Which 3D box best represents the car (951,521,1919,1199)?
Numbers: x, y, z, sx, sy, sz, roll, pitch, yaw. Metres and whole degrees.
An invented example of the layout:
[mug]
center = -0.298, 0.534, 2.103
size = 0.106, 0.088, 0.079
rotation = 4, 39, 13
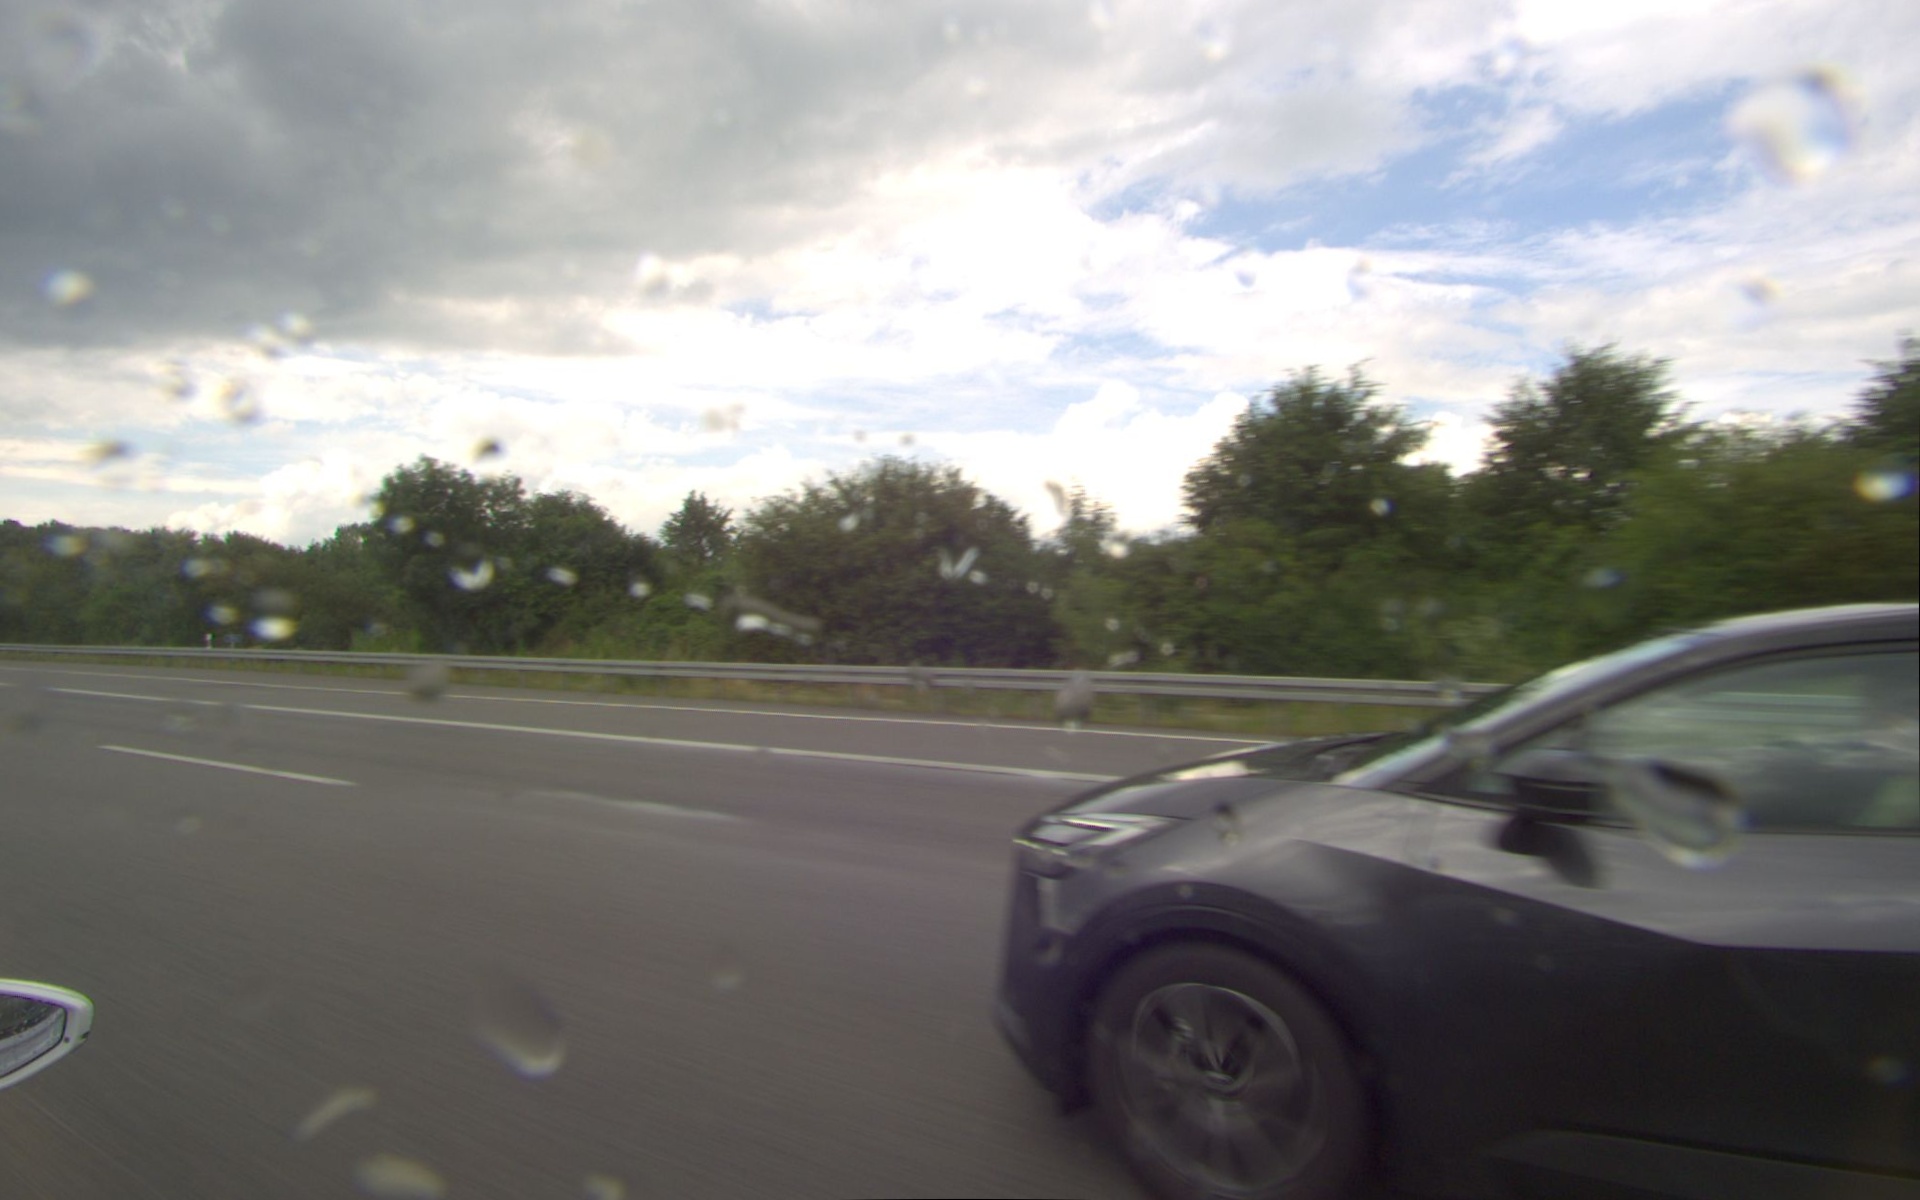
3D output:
[car]
center = 2.356, 0.698, 2.294
size = 4.531, 1.633, 1.778
rotation = -1, -1, 32
